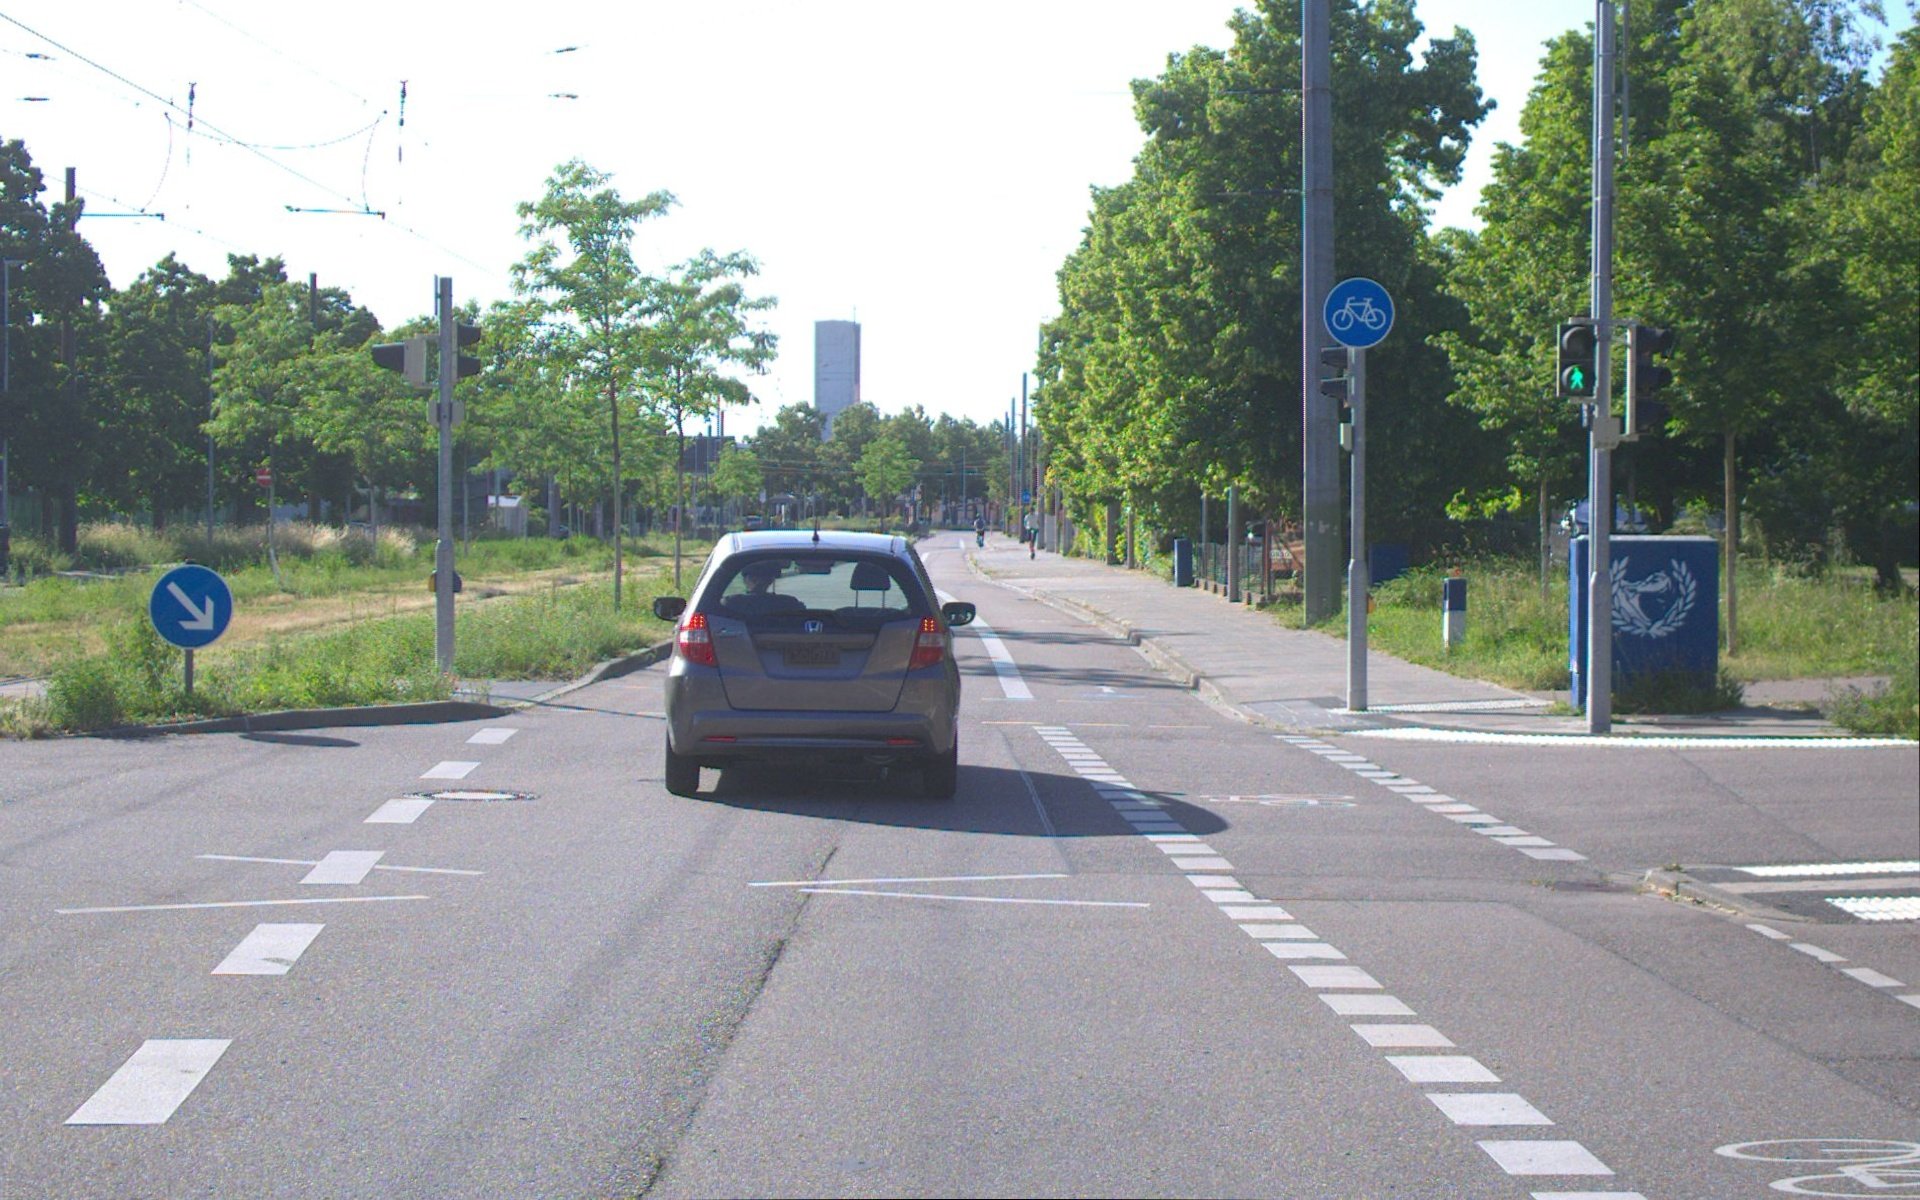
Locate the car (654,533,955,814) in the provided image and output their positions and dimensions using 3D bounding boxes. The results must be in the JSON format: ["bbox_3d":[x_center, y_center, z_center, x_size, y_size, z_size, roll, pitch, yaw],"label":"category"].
[{"bbox_3d":[-0.955,0.374,20.619,1.624,1.494,3.457,1,1,-3],"label":"car"}]

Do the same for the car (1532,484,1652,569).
[{"bbox_3d":[15.146,-1.775,82.648,1.872,1.960,5.167,1,1,-1],"label":"car"}]

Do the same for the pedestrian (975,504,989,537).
[{"bbox_3d":[1.201,-4.314,186.295,0.722,1.794,1.165,0,1,-1],"label":"pedestrian"}]

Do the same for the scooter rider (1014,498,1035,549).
[{"bbox_3d":[2.410,-2.875,128.923,0.716,1.894,0.935,0,1,-2],"label":"scooter rider"}]

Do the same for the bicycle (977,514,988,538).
[{"bbox_3d":[1.217,-4.012,186.244,0.512,1.237,3.090,0,1,-1],"label":"bicycle"}]

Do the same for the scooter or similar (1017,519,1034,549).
[{"bbox_3d":[2.455,-2.481,129.114,0.539,1.114,1.417,0,1,-2],"label":"scooter or similar"}]

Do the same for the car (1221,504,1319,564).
[{"bbox_3d":[7.431,-1.599,82.826,1.774,1.382,3.871,-1,1,-3],"label":"car"}]
